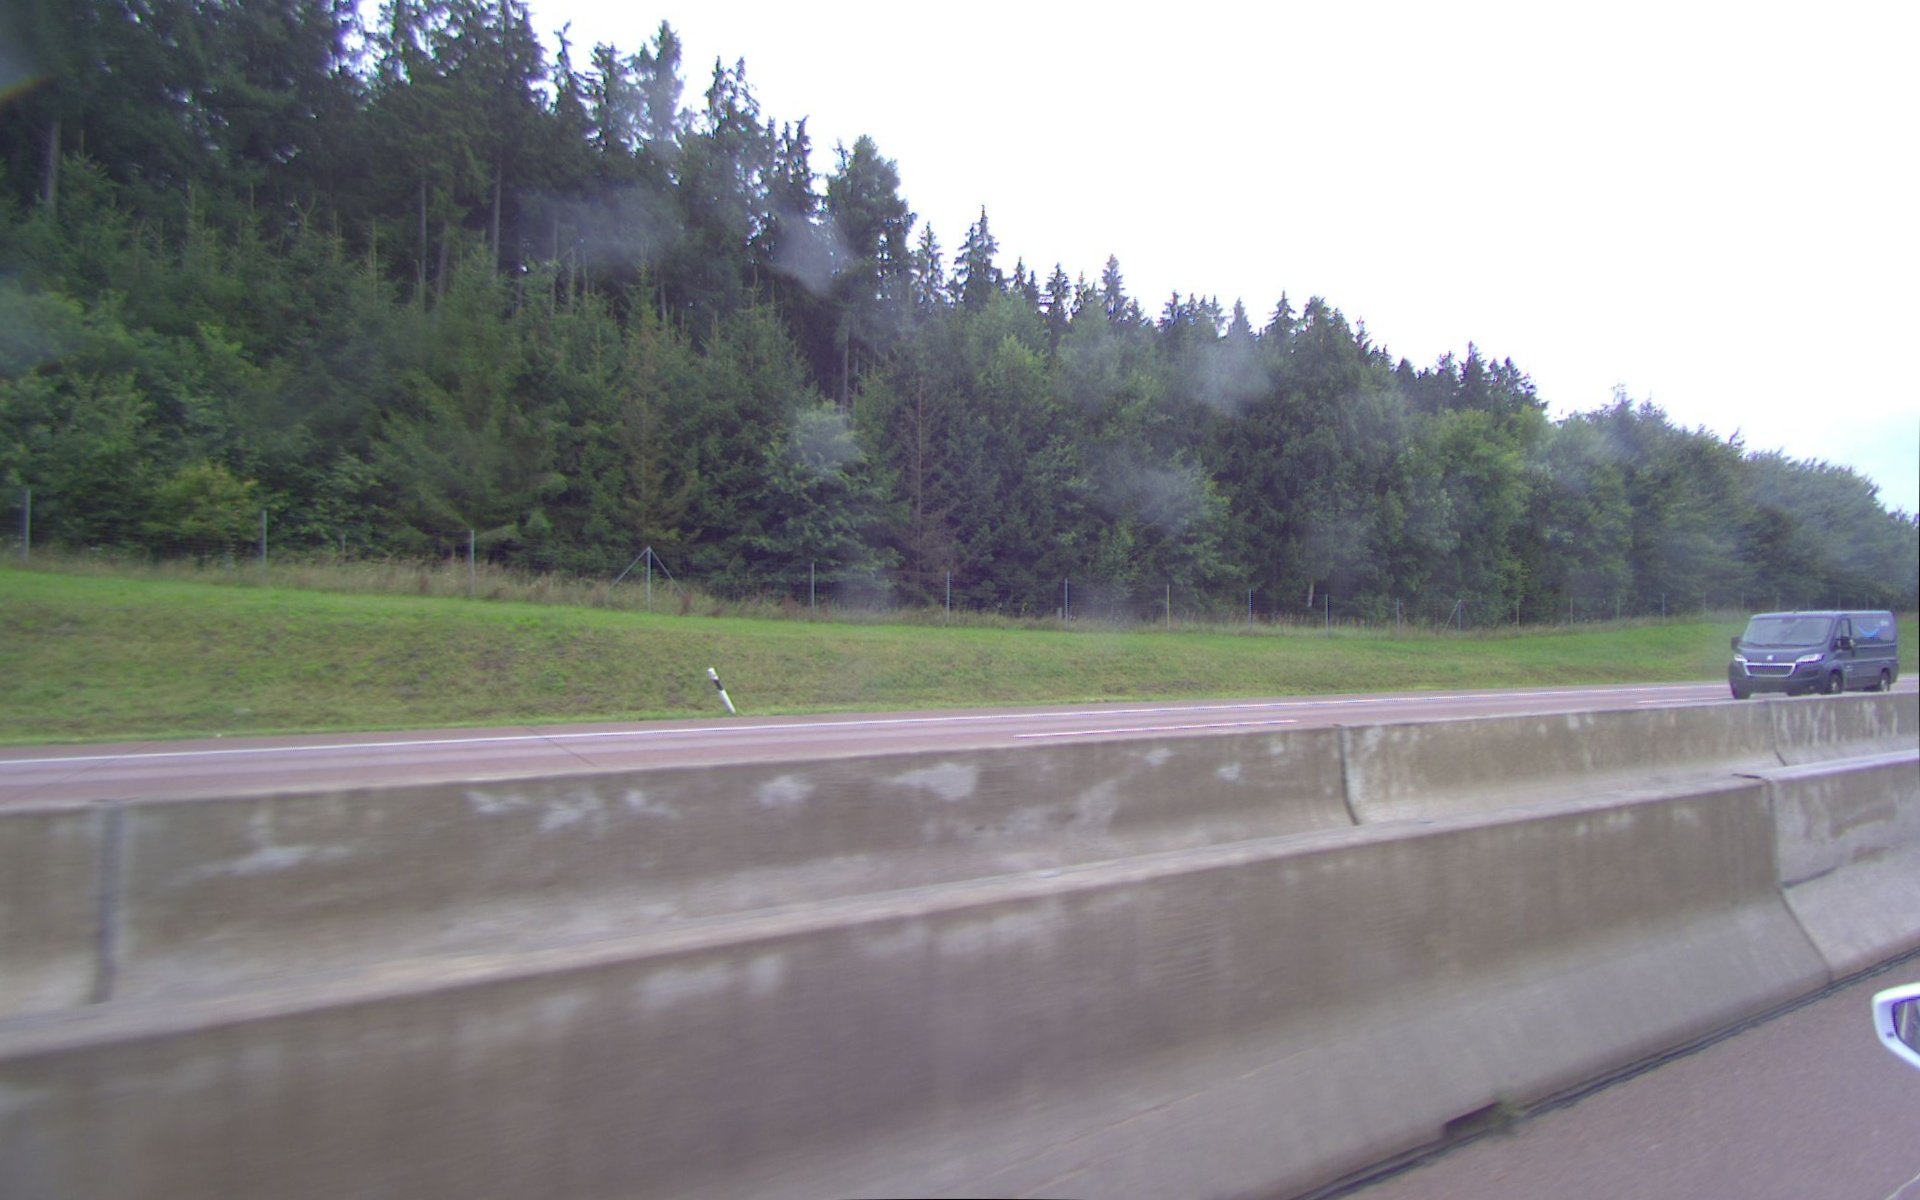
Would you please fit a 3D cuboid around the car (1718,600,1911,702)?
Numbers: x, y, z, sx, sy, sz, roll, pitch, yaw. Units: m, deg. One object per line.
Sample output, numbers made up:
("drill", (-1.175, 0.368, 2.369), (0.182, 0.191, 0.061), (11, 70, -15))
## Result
("car", (21.608, 1.278, 25.351), (5.335, 2.309, 2.091), (3, 0, -31))
